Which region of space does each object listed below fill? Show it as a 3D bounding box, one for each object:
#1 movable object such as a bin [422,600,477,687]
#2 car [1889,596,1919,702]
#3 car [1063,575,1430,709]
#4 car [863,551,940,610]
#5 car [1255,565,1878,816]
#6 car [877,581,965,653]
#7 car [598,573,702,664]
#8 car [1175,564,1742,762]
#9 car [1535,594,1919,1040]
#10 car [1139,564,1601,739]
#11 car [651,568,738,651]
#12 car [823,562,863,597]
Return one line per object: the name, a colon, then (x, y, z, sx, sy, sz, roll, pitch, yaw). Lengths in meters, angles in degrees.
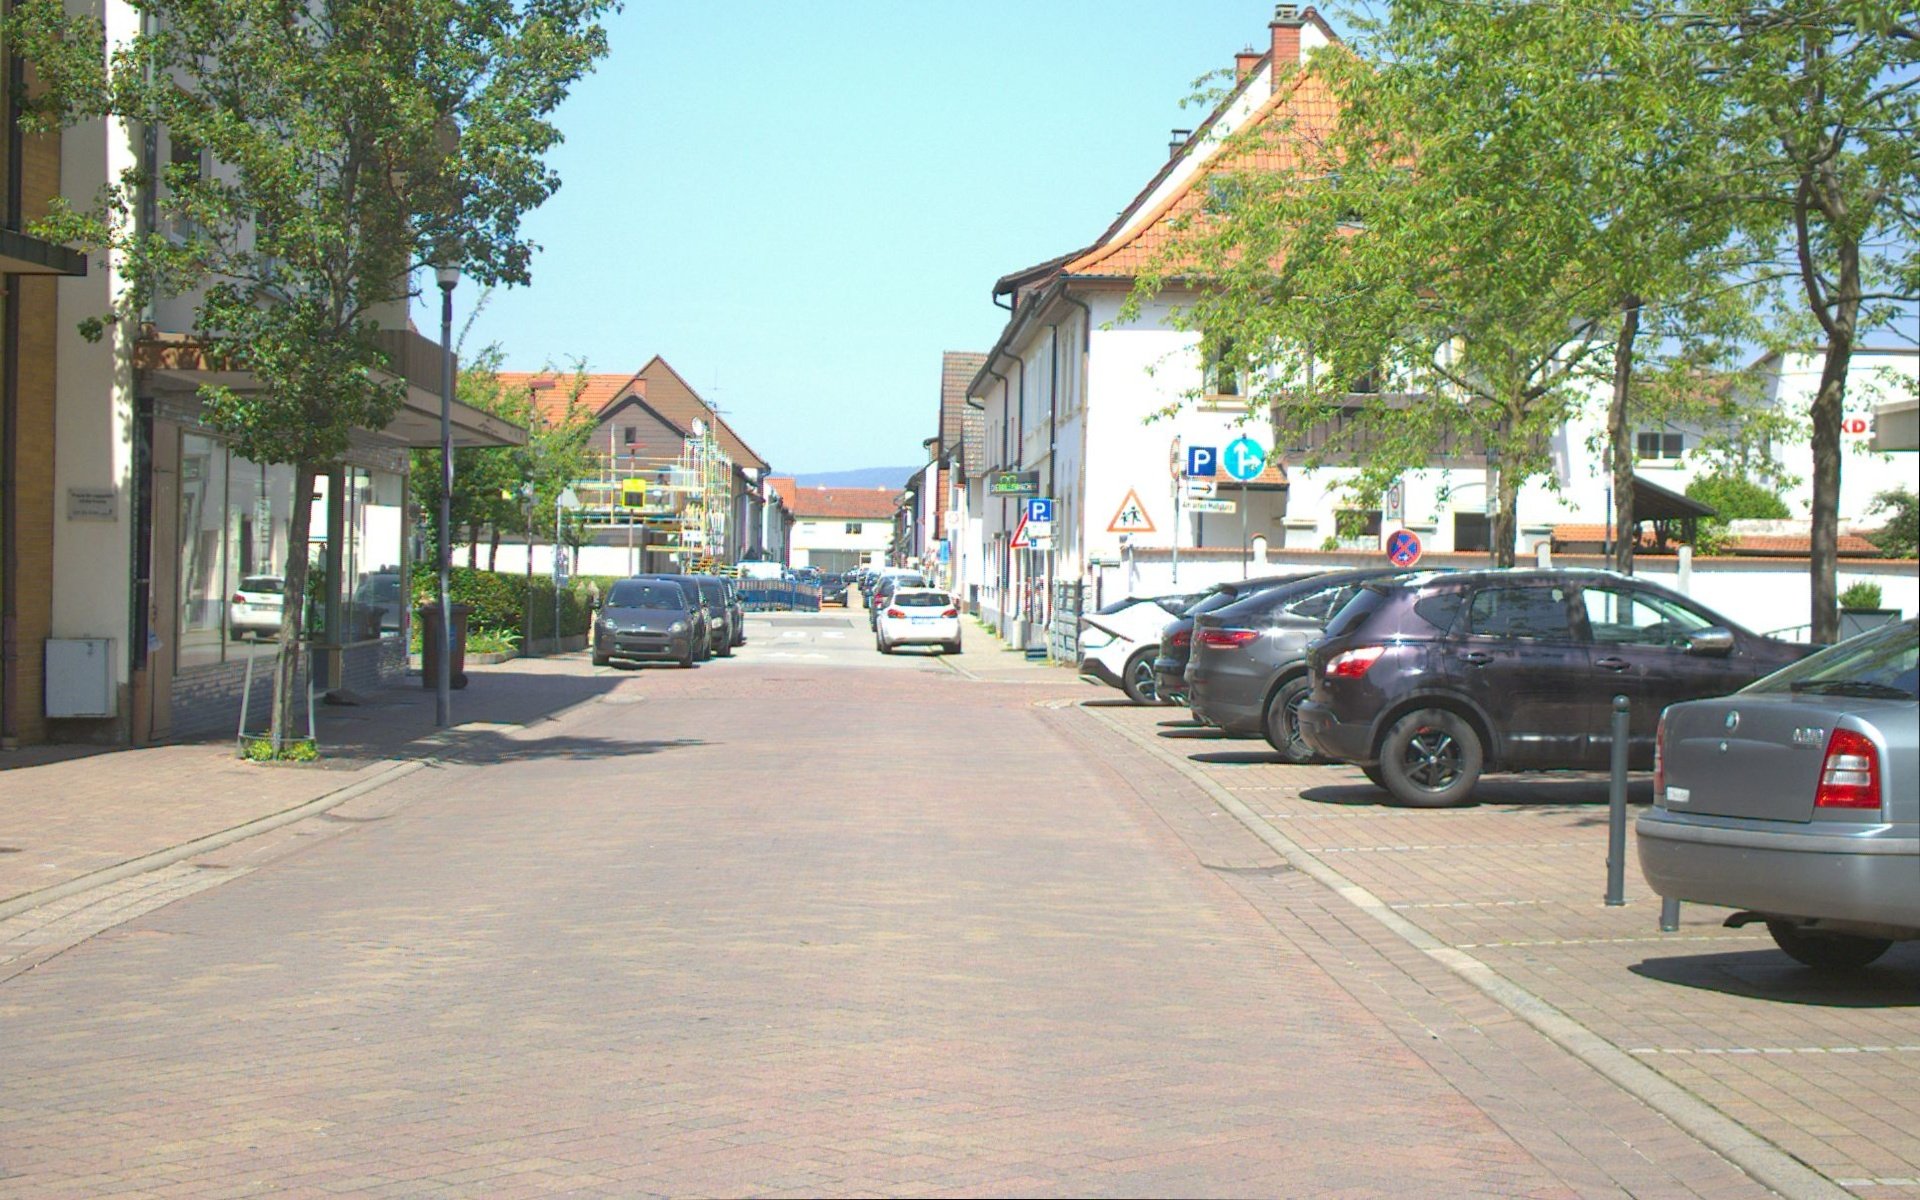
movable object such as a bin: (-6.463, 0.547, 43.537, 0.655, 1.066, 0.664, 2, 0, -7)
car: (15.238, 0.708, 48.800, 3.614, 1.447, 1.655, 1, 1, -1)
car: (3.633, 0.524, 44.130, 4.439, 1.570, 1.789, 1, 0, -4)
car: (-1.682, -0.571, 97.812, 1.884, 1.550, 3.895, -2, 1, -5)
car: (4.129, 0.600, 23.834, 4.027, 1.606, 1.681, -1, 2, 1)
car: (-0.858, 0.368, 78.095, 1.886, 1.536, 4.243, 1, 1, 1)
car: (-5.355, 0.294, 59.382, 1.702, 1.491, 3.858, 1, 1, -5)
car: (4.083, 0.502, 28.737, 4.508, 1.583, 1.850, 0, 1, 2)
car: (4.619, 0.703, 13.367, 4.372, 1.458, 1.891, -1, 1, -24)
car: (4.004, 0.484, 34.067, 4.278, 1.675, 2.001, 0, 0, -3)
car: (-5.455, 0.172, 70.935, 1.637, 1.623, 3.768, 1, 1, -2)
car: (-5.820, -1.035, 170.623, 1.881, 1.662, 4.154, 1, 1, -3)
